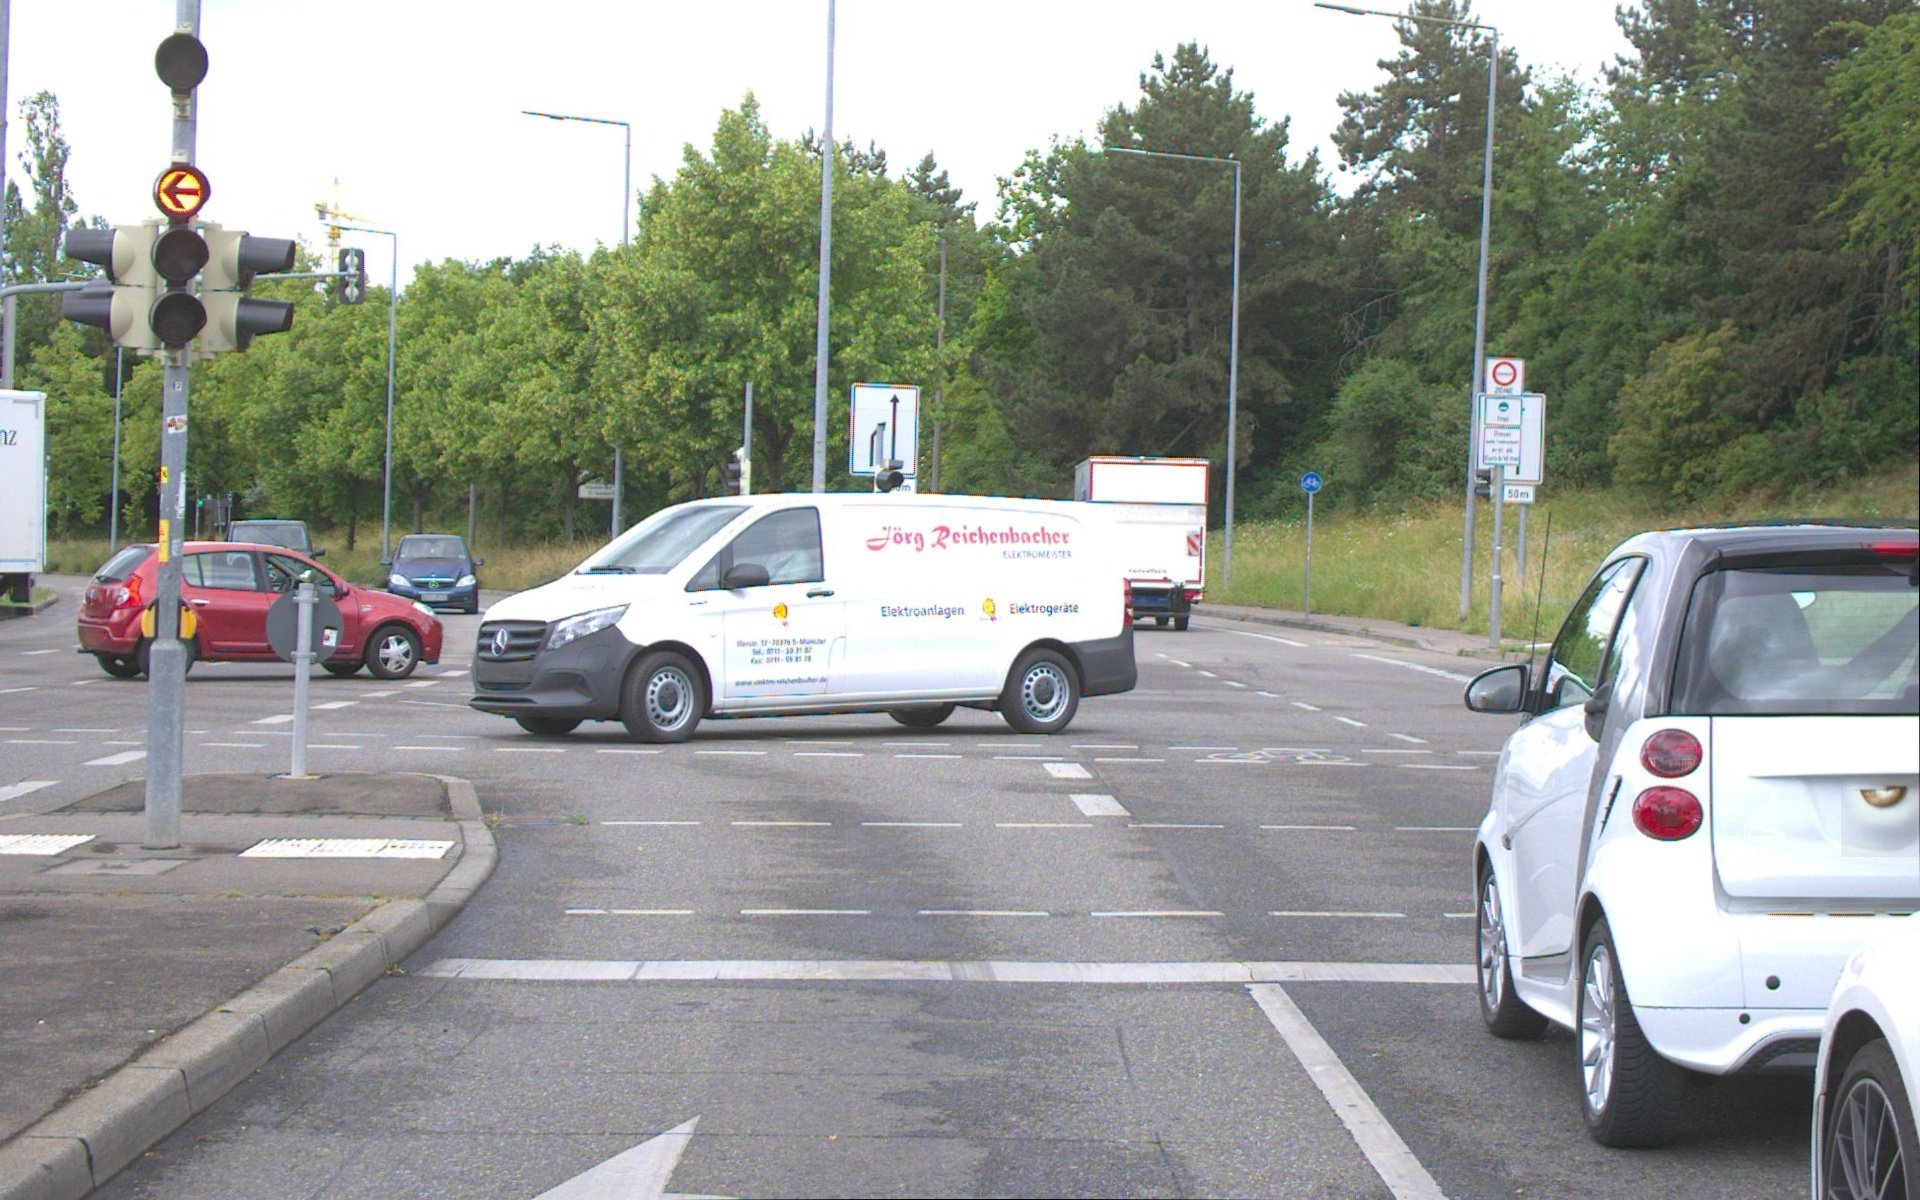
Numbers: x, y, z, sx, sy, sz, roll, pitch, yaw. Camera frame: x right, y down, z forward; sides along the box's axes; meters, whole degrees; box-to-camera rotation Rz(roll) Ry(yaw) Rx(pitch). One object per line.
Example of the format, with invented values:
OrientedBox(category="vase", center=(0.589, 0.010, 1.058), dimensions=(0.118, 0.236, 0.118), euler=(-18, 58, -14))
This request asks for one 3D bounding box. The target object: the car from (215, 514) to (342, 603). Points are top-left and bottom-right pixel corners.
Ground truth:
OrientedBox(category="car", center=(-13.726, -0.868, 69.399), dimensions=(1.915, 1.722, 4.001), euler=(1, 1, -3))

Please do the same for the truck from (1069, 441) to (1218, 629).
OrientedBox(category="truck", center=(3.632, -1.334, 69.480), dimensions=(2.683, 3.586, 7.264), euler=(0, 1, 1))

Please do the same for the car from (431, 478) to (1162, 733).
OrientedBox(category="car", center=(-1.195, 0.072, 26.693), dimensions=(5.419, 1.809, 2.000), euler=(1, -1, -34))

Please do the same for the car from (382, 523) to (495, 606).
OrientedBox(category="car", center=(-10.333, -0.726, 68.351), dimensions=(1.915, 1.571, 4.001), euler=(1, 1, -4))

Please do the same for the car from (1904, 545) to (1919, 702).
OrientedBox(category="car", center=(11.153, 0.257, 31.405), dimensions=(4.491, 1.456, 2.000), euler=(1, 1, 1))

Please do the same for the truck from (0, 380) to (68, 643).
OrientedBox(category="truck", center=(-16.032, -1.246, 45.166), dimensions=(2.664, 3.636, 9.488), euler=(2, 1, 27))

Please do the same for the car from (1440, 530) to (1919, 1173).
OrientedBox(category="car", center=(2.273, 0.567, 9.353), dimensions=(1.535, 1.499, 2.670), euler=(0, 1, 0))

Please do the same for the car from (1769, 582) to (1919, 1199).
OrientedBox(category="car", center=(2.340, 0.729, 4.039), dimensions=(1.721, 1.417, 4.357), euler=(0, 1, 0))

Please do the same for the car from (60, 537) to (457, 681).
OrientedBox(category="car", center=(-7.801, 0.073, 38.296), dimensions=(3.986, 1.511, 1.733), euler=(0, 2, -29))
